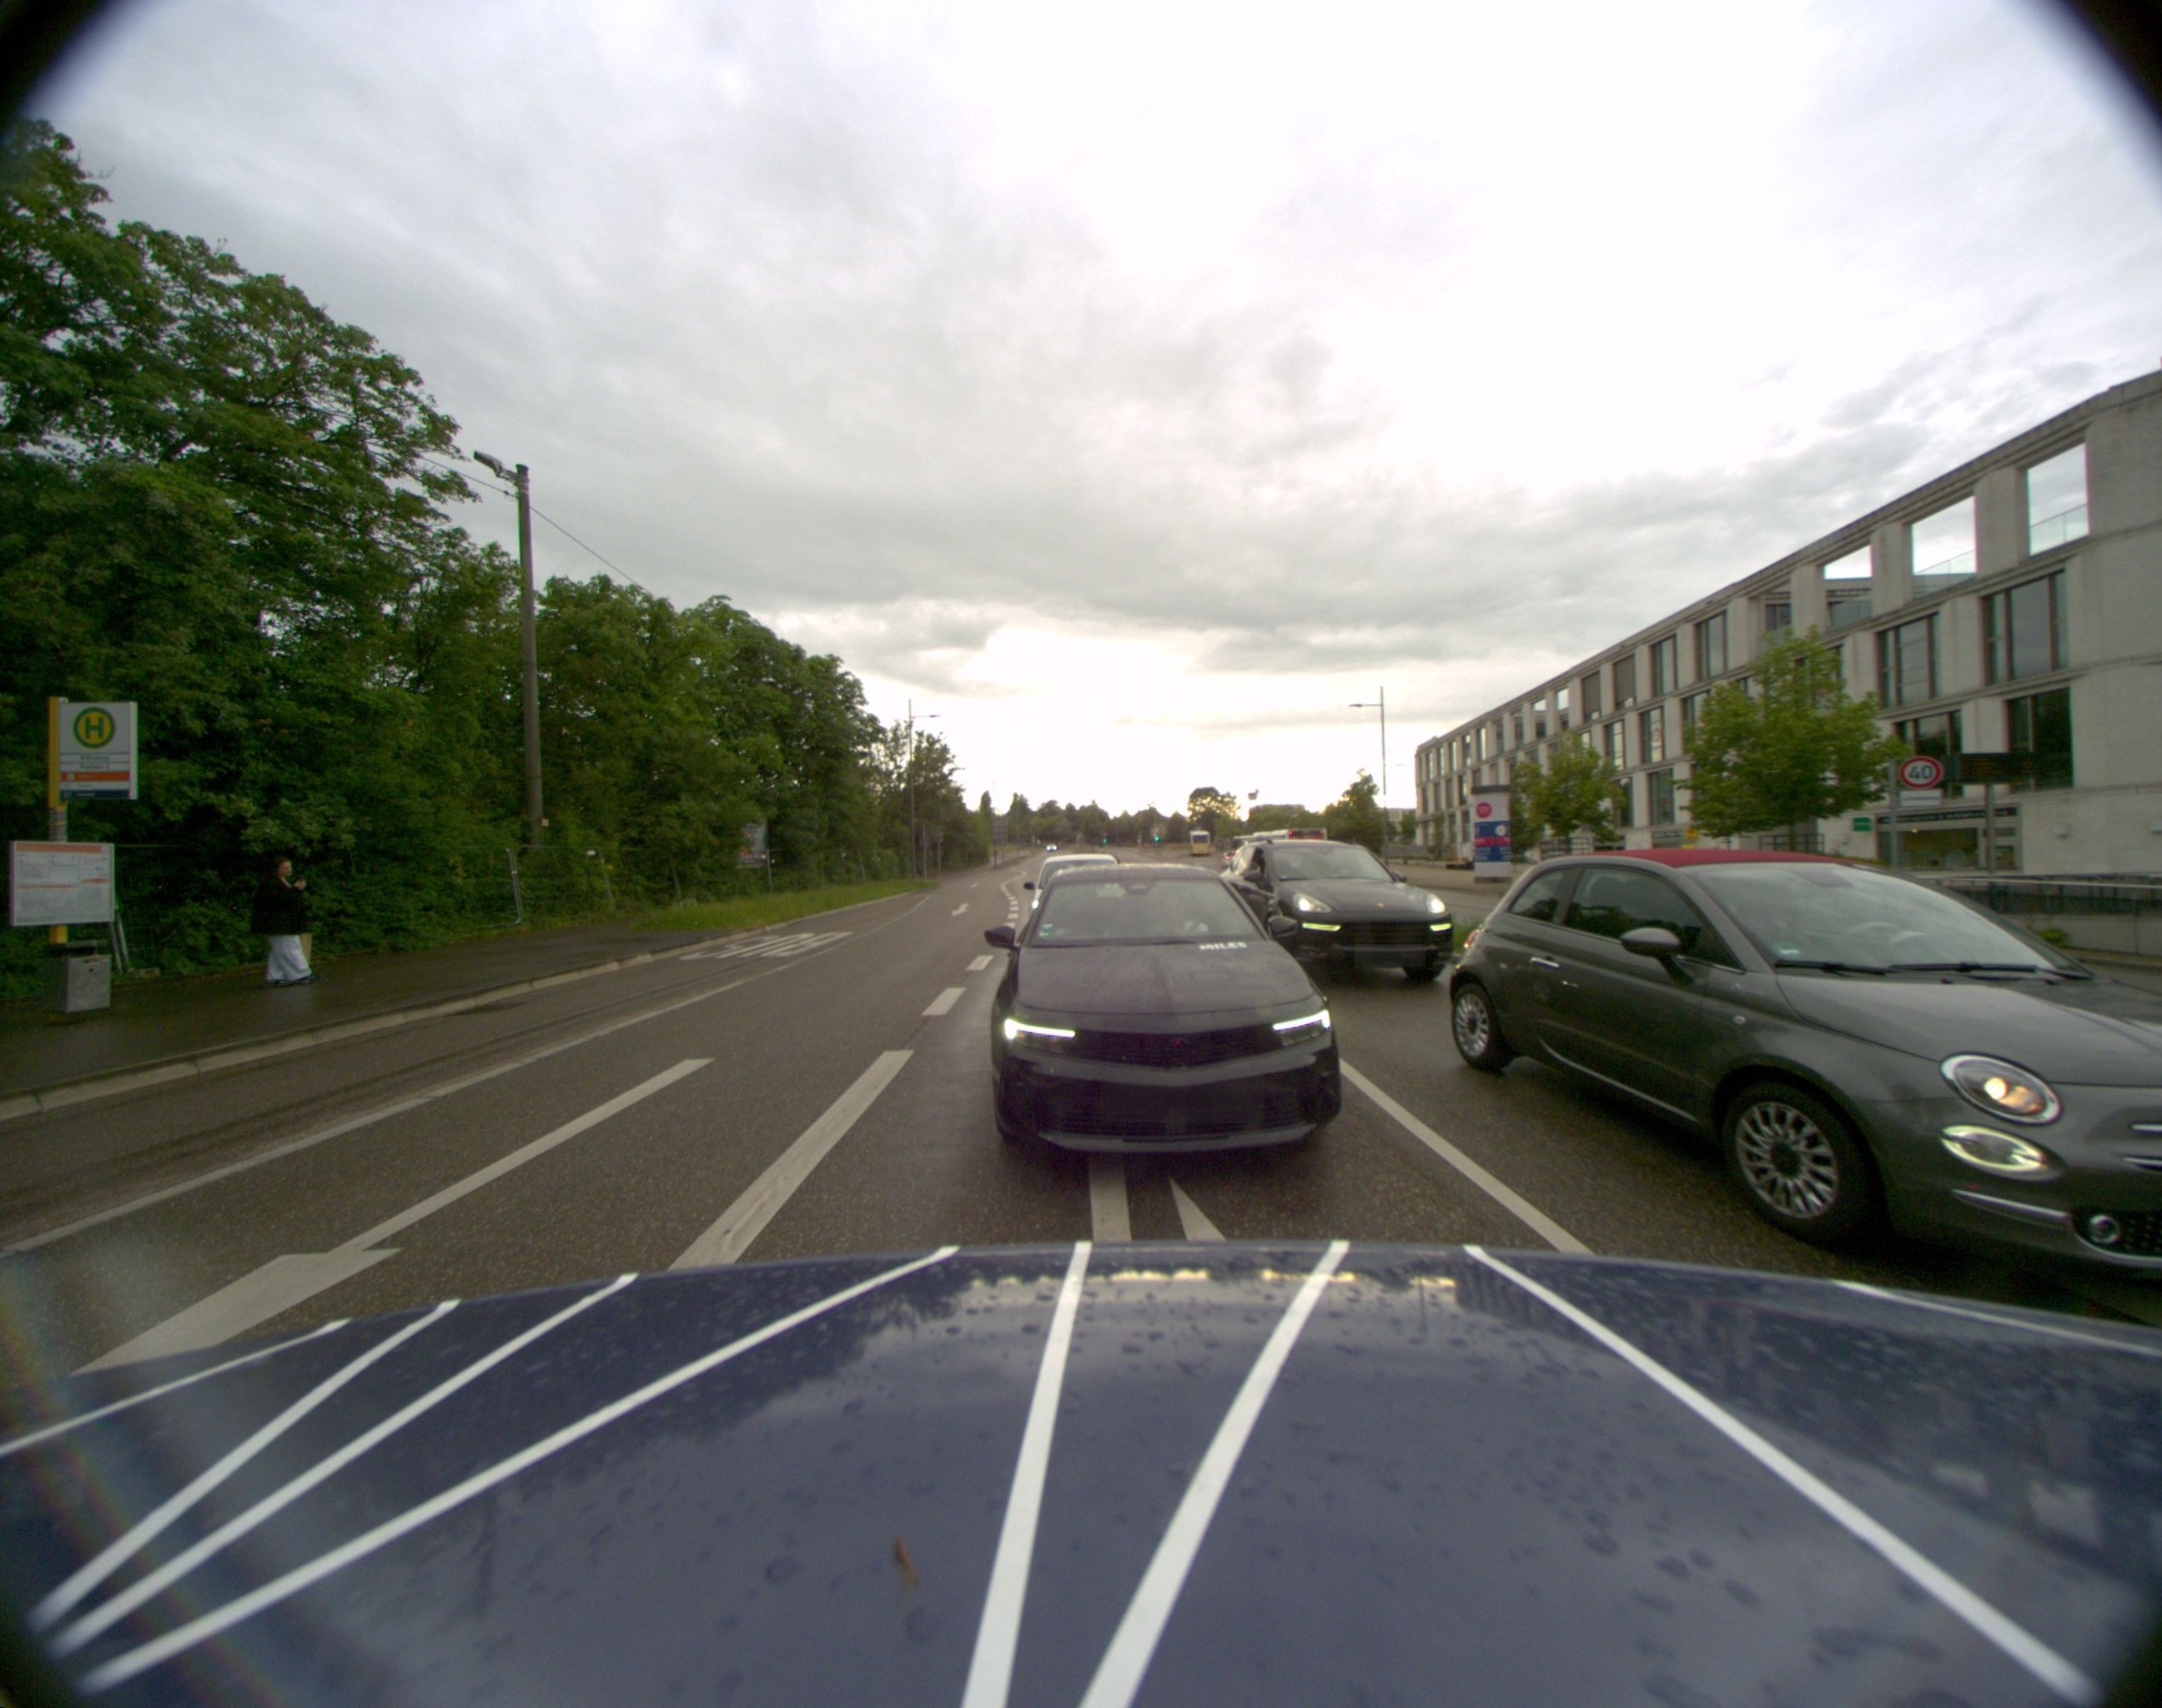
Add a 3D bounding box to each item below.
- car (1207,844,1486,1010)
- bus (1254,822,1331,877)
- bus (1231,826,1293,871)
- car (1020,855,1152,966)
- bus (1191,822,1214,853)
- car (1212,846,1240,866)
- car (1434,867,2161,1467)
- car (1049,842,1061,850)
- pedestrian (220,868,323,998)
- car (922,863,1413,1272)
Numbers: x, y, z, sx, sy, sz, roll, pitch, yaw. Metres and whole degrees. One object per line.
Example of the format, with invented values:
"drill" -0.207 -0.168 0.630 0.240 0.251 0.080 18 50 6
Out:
"car" 3.089 0.727 10.028 1.934 1.649 4.617 -1 0 -2
"bus" 13.819 -0.317 50.537 2.759 3.194 9.207 -2 1 2
"bus" 14.110 -0.456 60.042 2.693 3.163 9.912 -2 1 2
"car" 0.113 0.844 13.679 1.901 1.524 4.767 -2 1 1
"bus" 18.434 -2.435 114.240 2.757 4.129 19.359 -2 1 11
"car" 13.576 0.155 71.467 1.867 1.777 3.999 -2 1 1
"car" 3.427 0.857 3.774 1.631 1.473 3.505 -1 1 -2
"car" -5.821 -1.788 170.405 2.000 1.805 3.996 -2 1 -10
"pedestrian" -10.590 1.012 9.966 0.588 1.618 0.661 -1 1 1
"car" 0.377 0.883 5.404 1.901 1.456 4.767 -2 1 1
